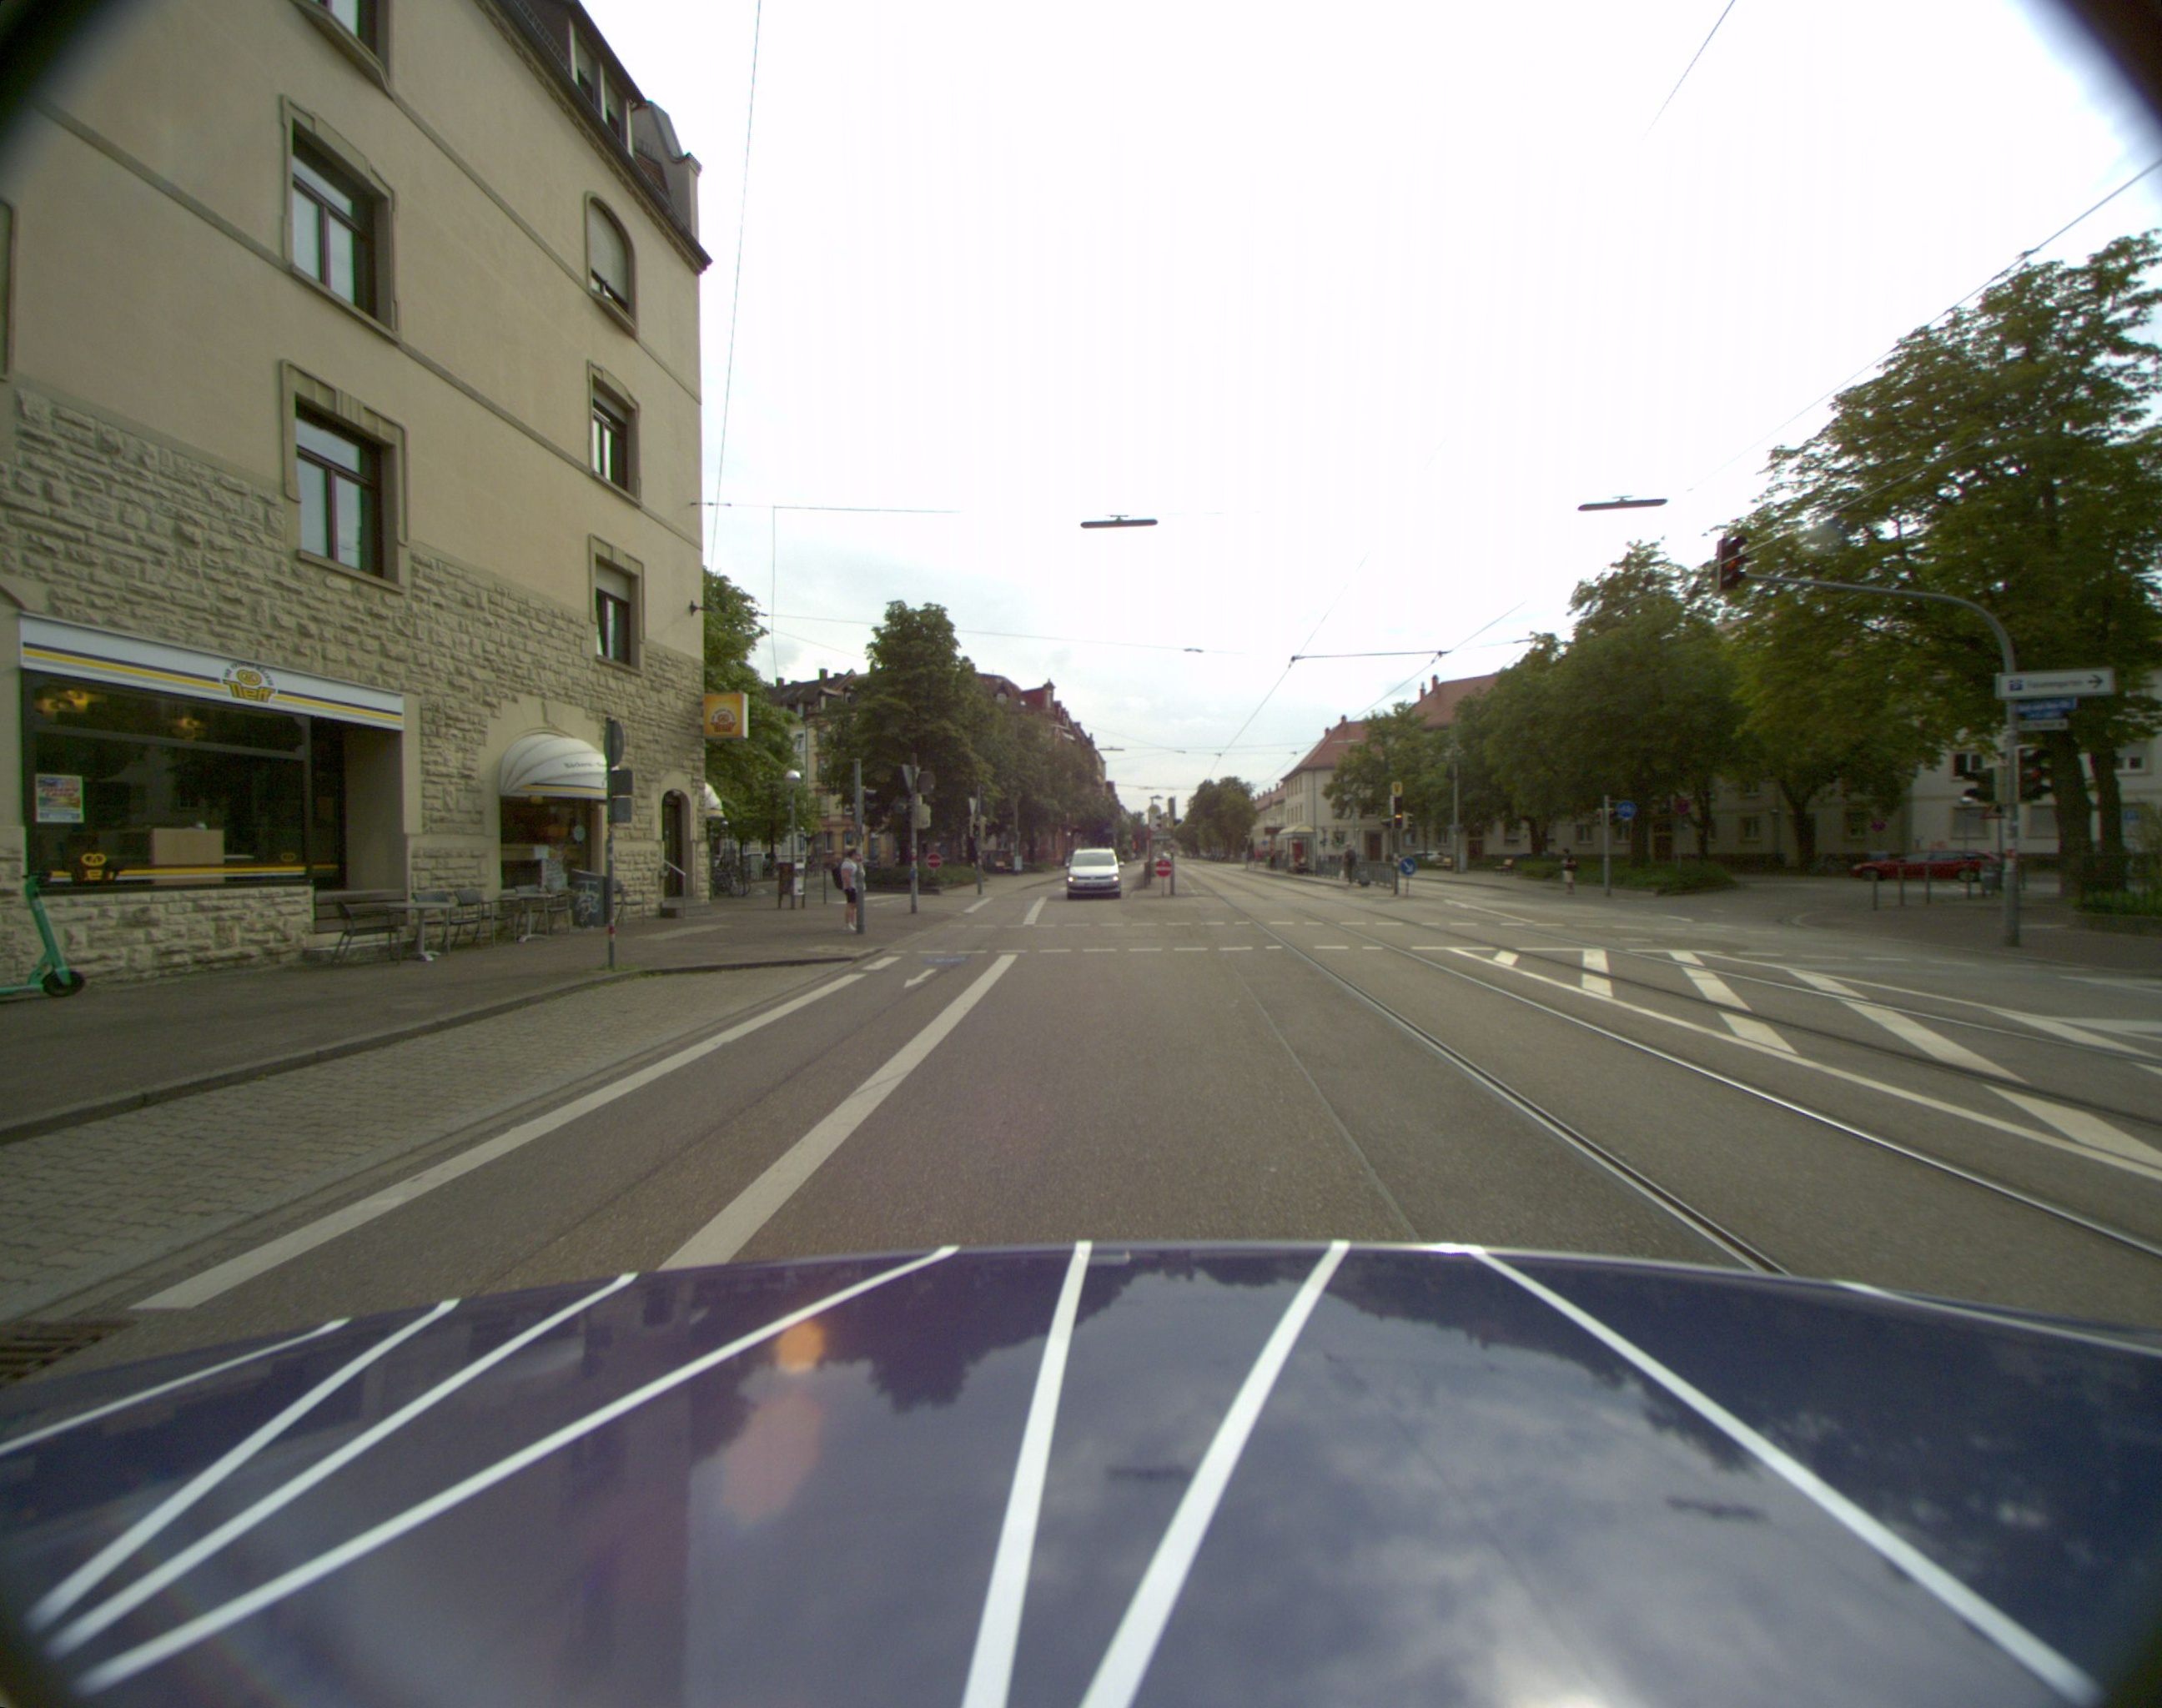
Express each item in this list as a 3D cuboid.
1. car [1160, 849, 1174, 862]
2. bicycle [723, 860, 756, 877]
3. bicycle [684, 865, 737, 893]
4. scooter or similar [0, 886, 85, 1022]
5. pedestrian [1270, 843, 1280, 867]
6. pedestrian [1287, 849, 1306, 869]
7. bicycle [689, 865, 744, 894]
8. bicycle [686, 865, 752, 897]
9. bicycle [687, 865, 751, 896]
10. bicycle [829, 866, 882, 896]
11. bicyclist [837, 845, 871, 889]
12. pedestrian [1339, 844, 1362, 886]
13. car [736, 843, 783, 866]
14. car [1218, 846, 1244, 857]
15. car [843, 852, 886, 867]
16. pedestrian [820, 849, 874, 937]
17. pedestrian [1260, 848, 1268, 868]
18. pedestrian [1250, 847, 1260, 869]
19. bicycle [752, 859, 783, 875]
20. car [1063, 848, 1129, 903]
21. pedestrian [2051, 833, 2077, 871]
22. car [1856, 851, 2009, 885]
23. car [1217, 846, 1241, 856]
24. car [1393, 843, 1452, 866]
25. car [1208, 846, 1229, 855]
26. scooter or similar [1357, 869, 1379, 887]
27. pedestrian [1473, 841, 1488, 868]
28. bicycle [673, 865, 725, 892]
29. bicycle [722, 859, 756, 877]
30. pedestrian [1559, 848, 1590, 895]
[{"bbox_3d":[13.276,0.231,116.910,1.997,2.002,4.002,-2,0,7],"label":"car"},{"bbox_3d":[-20.993,0.903,46.732,1.793,1.032,0.482,-1,0,-7],"label":"bicycle"},{"bbox_3d":[-14.392,0.947,29.549,0.481,1.032,1.797,-1,-1,43],"label":"bicycle"},{"bbox_3d":[-9.675,0.889,6.608,0.398,1.161,1.197,2,1,6],"label":"scooter or similar"},{"bbox_3d":[14.185,0.079,55.523,0.588,1.694,0.619,-2,1,2],"label":"pedestrian"},{"bbox_3d":[13.515,0.313,47.648,1.032,1.229,0.724,-2,1,4],"label":"pedestrian"},{"bbox_3d":[-13.480,0.930,28.138,0.481,1.032,1.797,-1,-1,43],"label":"bicycle"},{"bbox_3d":[-12.390,0.903,26.077,0.481,1.032,2.053,-1,-1,36],"label":"bicycle"},{"bbox_3d":[-12.761,0.913,26.875,0.481,1.032,2.053,-1,-1,36],"label":"bicycle"},{"bbox_3d":[-8.746,1.026,29.374,0.888,1.039,3.088,-1,1,-38],"label":"bicycle"},{"bbox_3d":[-8.823,0.494,29.461,0.841,1.680,1.243,-1,0,-38],"label":"bicyclist"},{"bbox_3d":[10.778,0.432,30.405,0.684,1.680,0.815,0,1,6],"label":"pedestrian"},{"bbox_3d":[-32.456,0.059,76.707,4.534,2.104,1.742,-1,1,24],"label":"car"},{"bbox_3d":[24.760,-0.474,125.471,3.994,1.716,1.877,-2,1,8],"label":"car"},{"bbox_3d":[-19.834,0.522,69.672,3.580,1.259,1.742,-1,1,29],"label":"car"},{"bbox_3d":[-4.612,0.750,15.021,0.721,1.651,0.759,4,1,2],"label":"pedestrian"},{"bbox_3d":[15.572,0.371,64.649,0.501,1.694,0.402,-2,1,-7],"label":"pedestrian"},{"bbox_3d":[14.788,0.312,64.670,0.658,1.824,0.464,-2,1,-7],"label":"pedestrian"},{"bbox_3d":[-20.497,0.824,49.739,1.793,1.032,0.482,-1,0,-7],"label":"bicycle"},{"bbox_3d":[0.603,0.651,25.709,1.766,1.661,4.331,-2,0,6],"label":"car"},{"bbox_3d":[47.904,-0.116,37.025,0.551,1.815,0.589,-1,1,25],"label":"pedestrian"},{"bbox_3d":[36.837,0.560,32.971,1.707,1.397,4.299,-1,1,-38],"label":"car"},{"bbox_3d":[26.220,-0.571,134.707,3.994,1.716,1.877,-2,1,8],"label":"car"},{"bbox_3d":[28.683,0.057,63.897,4.187,1.854,1.857,-1,1,40],"label":"car"},{"bbox_3d":[28.095,-0.749,155.438,3.994,1.716,1.877,-2,1,8],"label":"car"},{"bbox_3d":[11.213,0.934,29.718,0.669,0.708,0.604,0,1,37],"label":"scooter or similar"},{"bbox_3d":[30.997,0.047,58.890,0.862,2.002,0.766,-1,1,40],"label":"pedestrian"},{"bbox_3d":[-15.326,0.968,30.495,1.797,1.032,0.481,0,-1,-41],"label":"bicycle"},{"bbox_3d":[-20.683,0.837,46.000,1.793,1.032,0.482,-1,0,-7],"label":"bicycle"},{"bbox_3d":[18.048,0.627,27.792,0.654,1.681,0.712,0,1,2],"label":"pedestrian"}]
